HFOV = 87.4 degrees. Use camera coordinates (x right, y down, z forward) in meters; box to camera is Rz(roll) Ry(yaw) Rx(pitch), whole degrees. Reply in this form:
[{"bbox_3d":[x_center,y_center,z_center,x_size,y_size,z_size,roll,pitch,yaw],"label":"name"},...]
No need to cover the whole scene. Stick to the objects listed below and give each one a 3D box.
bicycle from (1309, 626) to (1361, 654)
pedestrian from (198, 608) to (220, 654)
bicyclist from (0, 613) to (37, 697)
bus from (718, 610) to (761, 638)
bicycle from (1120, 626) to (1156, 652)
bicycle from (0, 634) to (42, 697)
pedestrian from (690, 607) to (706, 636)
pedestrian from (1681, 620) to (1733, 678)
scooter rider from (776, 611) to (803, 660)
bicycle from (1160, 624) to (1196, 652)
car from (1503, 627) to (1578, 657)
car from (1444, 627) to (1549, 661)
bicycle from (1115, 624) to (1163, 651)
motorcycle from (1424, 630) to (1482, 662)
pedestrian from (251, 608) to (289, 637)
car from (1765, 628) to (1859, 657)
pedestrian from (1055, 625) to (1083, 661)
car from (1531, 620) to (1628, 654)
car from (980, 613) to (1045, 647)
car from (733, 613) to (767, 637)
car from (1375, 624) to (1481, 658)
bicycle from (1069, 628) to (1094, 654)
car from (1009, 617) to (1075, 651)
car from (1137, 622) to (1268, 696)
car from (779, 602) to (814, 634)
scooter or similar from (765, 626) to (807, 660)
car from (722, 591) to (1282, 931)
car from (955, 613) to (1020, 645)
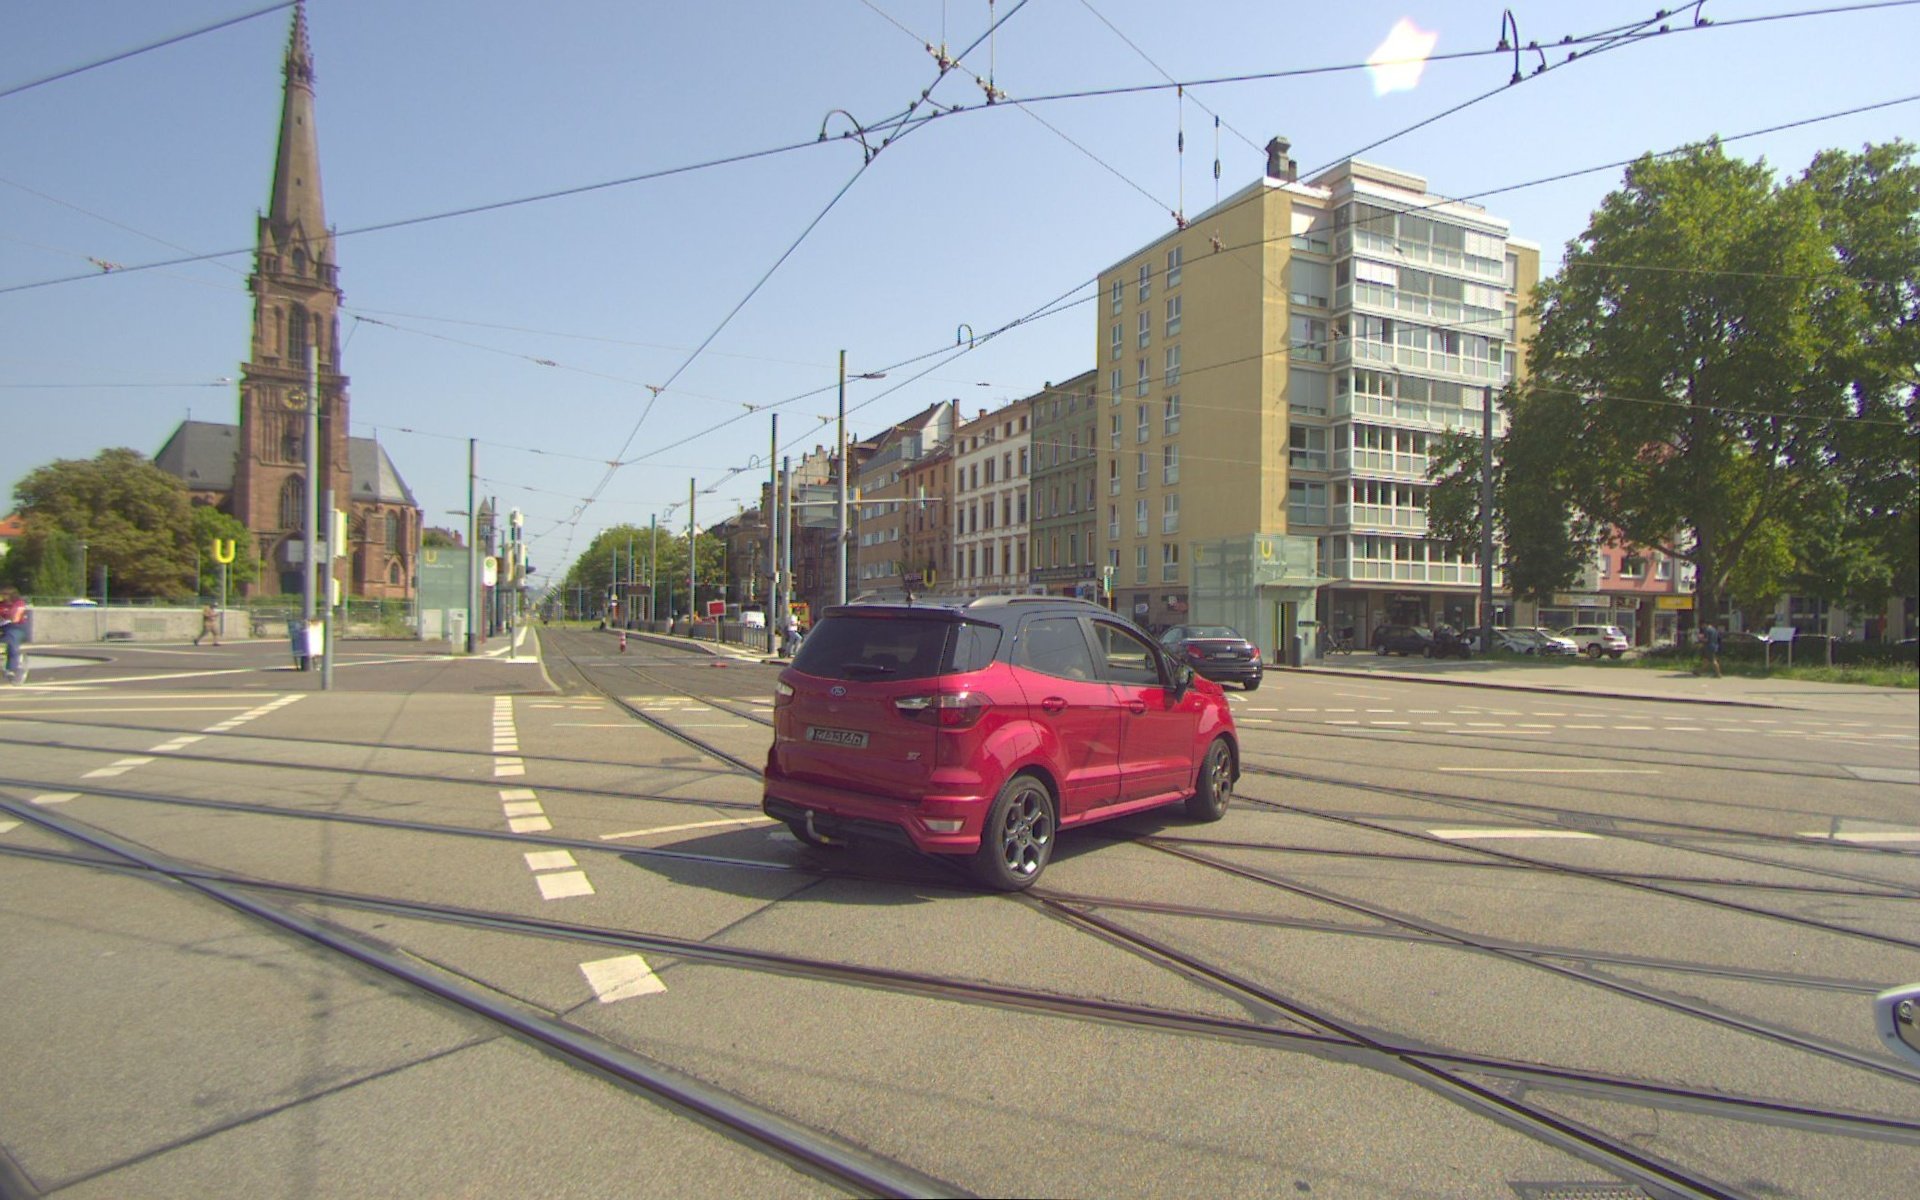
[{"bbox_3d":[17.172,1.825,46.077,0.783,1.255,2.421,1,-1,-24],"label":"bicycle"},{"bbox_3d":[-28.394,1.152,37.957,0.570,1.681,0.791,1,1,-42],"label":"pedestrian"},{"bbox_3d":[-17.588,0.983,18.250,0.864,1.479,0.976,1,-1,-20],"label":"bicyclist"},{"bbox_3d":[-25.686,2.800,116.492,2.506,3.072,12.366,1,-2,-23],"label":"bus"},{"bbox_3d":[9.863,2.133,55.619,0.888,1.423,3.358,0,-1,30],"label":"bicycle"},{"bbox_3d":[-17.518,1.179,18.199,0.605,1.083,1.904,1,-1,-20],"label":"bicycle"},{"bbox_3d":[-15.827,1.313,60.714,0.753,1.775,1.063,1,-2,-24],"label":"pedestrian"},{"bbox_3d":[21.408,1.395,28.793,0.783,1.630,0.943,1,-1,-27],"label":"pedestrian"},{"bbox_3d":[-6.056,1.250,35.623,0.763,1.695,0.774,1,-1,-25],"label":"scooter rider"},{"bbox_3d":[11.549,2.002,53.009,0.888,1.423,3.358,0,-1,30],"label":"bicycle"},{"bbox_3d":[29.767,2.127,51.559,1.385,1.447,3.078,1,-1,-26],"label":"car"},{"bbox_3d":[25.968,2.104,48.792,1.881,1.490,4.219,1,-1,-26],"label":"car"},{"bbox_3d":[10.197,2.125,57.490,0.892,1.423,3.342,1,-1,-26],"label":"bicycle"},{"bbox_3d":[18.664,1.714,38.085,0.896,1.152,2.108,1,-1,-11],"label":"motorcycle"},{"bbox_3d":[-36.098,1.157,52.547,1.664,1.506,0.615,0,-1,12],"label":"pedestrian"},{"bbox_3d":[52.115,2.590,61.527,1.767,1.688,4.047,1,-1,-26],"label":"car"},{"bbox_3d":[5.299,2.091,48.917,0.891,1.726,1.033,1,-2,40],"label":"pedestrian"},{"bbox_3d":[32.244,1.890,52.381,1.767,1.688,4.047,1,-1,-26],"label":"car"},{"bbox_3d":[2.846,1.559,53.162,1.949,1.710,4.389,0,-1,25],"label":"car"},{"bbox_3d":[-16.673,2.020,79.703,1.772,1.803,3.976,2,-2,-25],"label":"car"},{"bbox_3d":[21.641,1.865,46.606,1.881,1.490,4.219,1,-1,-26],"label":"car"},{"bbox_3d":[6.188,2.094,51.223,0.467,1.313,1.783,0,-2,-21],"label":"bicycle"},{"bbox_3d":[4.150,1.695,50.141,1.775,1.520,3.779,2,-2,30],"label":"car"},{"bbox_3d":[5.382,1.266,22.785,1.761,1.450,3.998,1,-1,-4],"label":"car"},{"bbox_3d":[-15.336,1.664,93.829,2.271,2.927,5.574,0,-1,-20],"label":"car"},{"bbox_3d":[-6.169,1.517,35.583,1.324,1.164,0.705,1,-1,-26],"label":"scooter or similar"},{"bbox_3d":[0.563,0.843,6.974,1.742,1.639,4.062,0,-2,41],"label":"car"},{"bbox_3d":[1.598,1.601,56.795,2.005,1.736,4.662,0,-1,25],"label":"car"}]
